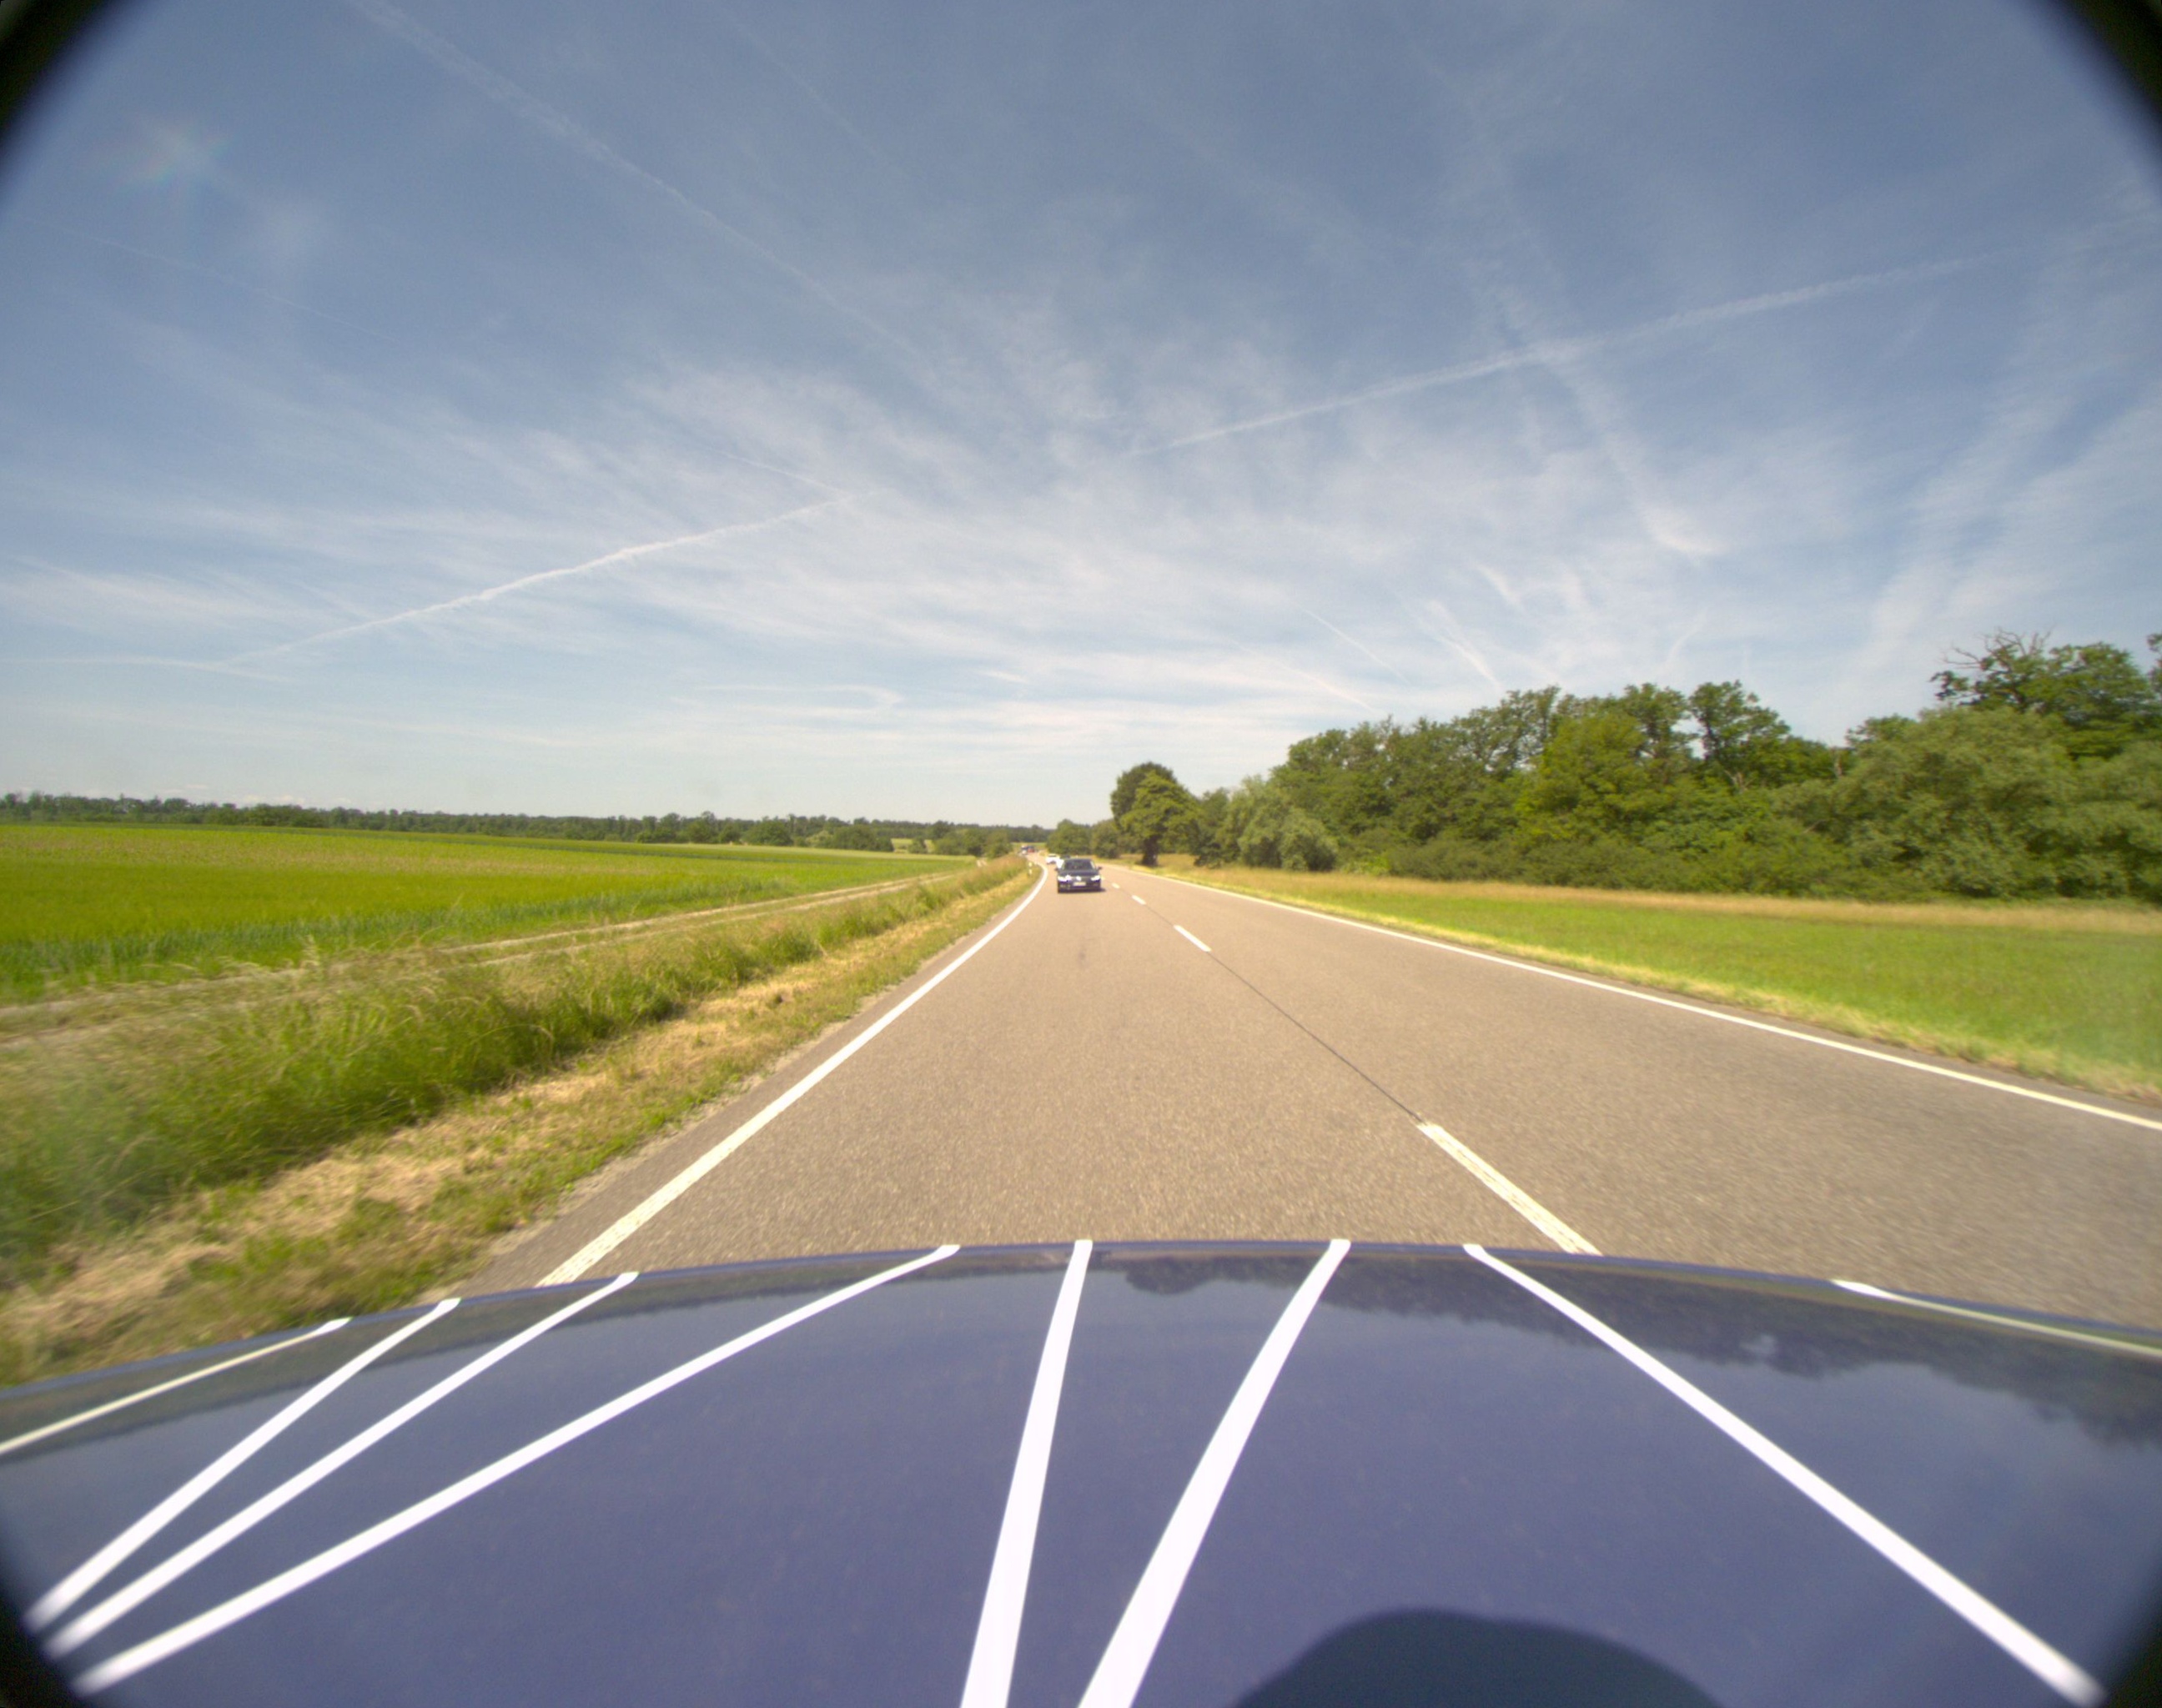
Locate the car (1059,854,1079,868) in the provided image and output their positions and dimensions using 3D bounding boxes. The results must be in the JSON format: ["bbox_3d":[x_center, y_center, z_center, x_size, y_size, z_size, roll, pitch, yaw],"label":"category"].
[{"bbox_3d":[-1.287,0.704,79.936,1.929,1.501,4.290,0,0,-4],"label":"car"}]

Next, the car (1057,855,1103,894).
[{"bbox_3d":[-0.114,0.846,33.149,1.822,1.501,4.499,-2,0,-2],"label":"car"}]

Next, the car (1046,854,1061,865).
[{"bbox_3d":[-4.069,0.761,112.230,1.929,1.501,4.289,-2,0,-5],"label":"car"}]
